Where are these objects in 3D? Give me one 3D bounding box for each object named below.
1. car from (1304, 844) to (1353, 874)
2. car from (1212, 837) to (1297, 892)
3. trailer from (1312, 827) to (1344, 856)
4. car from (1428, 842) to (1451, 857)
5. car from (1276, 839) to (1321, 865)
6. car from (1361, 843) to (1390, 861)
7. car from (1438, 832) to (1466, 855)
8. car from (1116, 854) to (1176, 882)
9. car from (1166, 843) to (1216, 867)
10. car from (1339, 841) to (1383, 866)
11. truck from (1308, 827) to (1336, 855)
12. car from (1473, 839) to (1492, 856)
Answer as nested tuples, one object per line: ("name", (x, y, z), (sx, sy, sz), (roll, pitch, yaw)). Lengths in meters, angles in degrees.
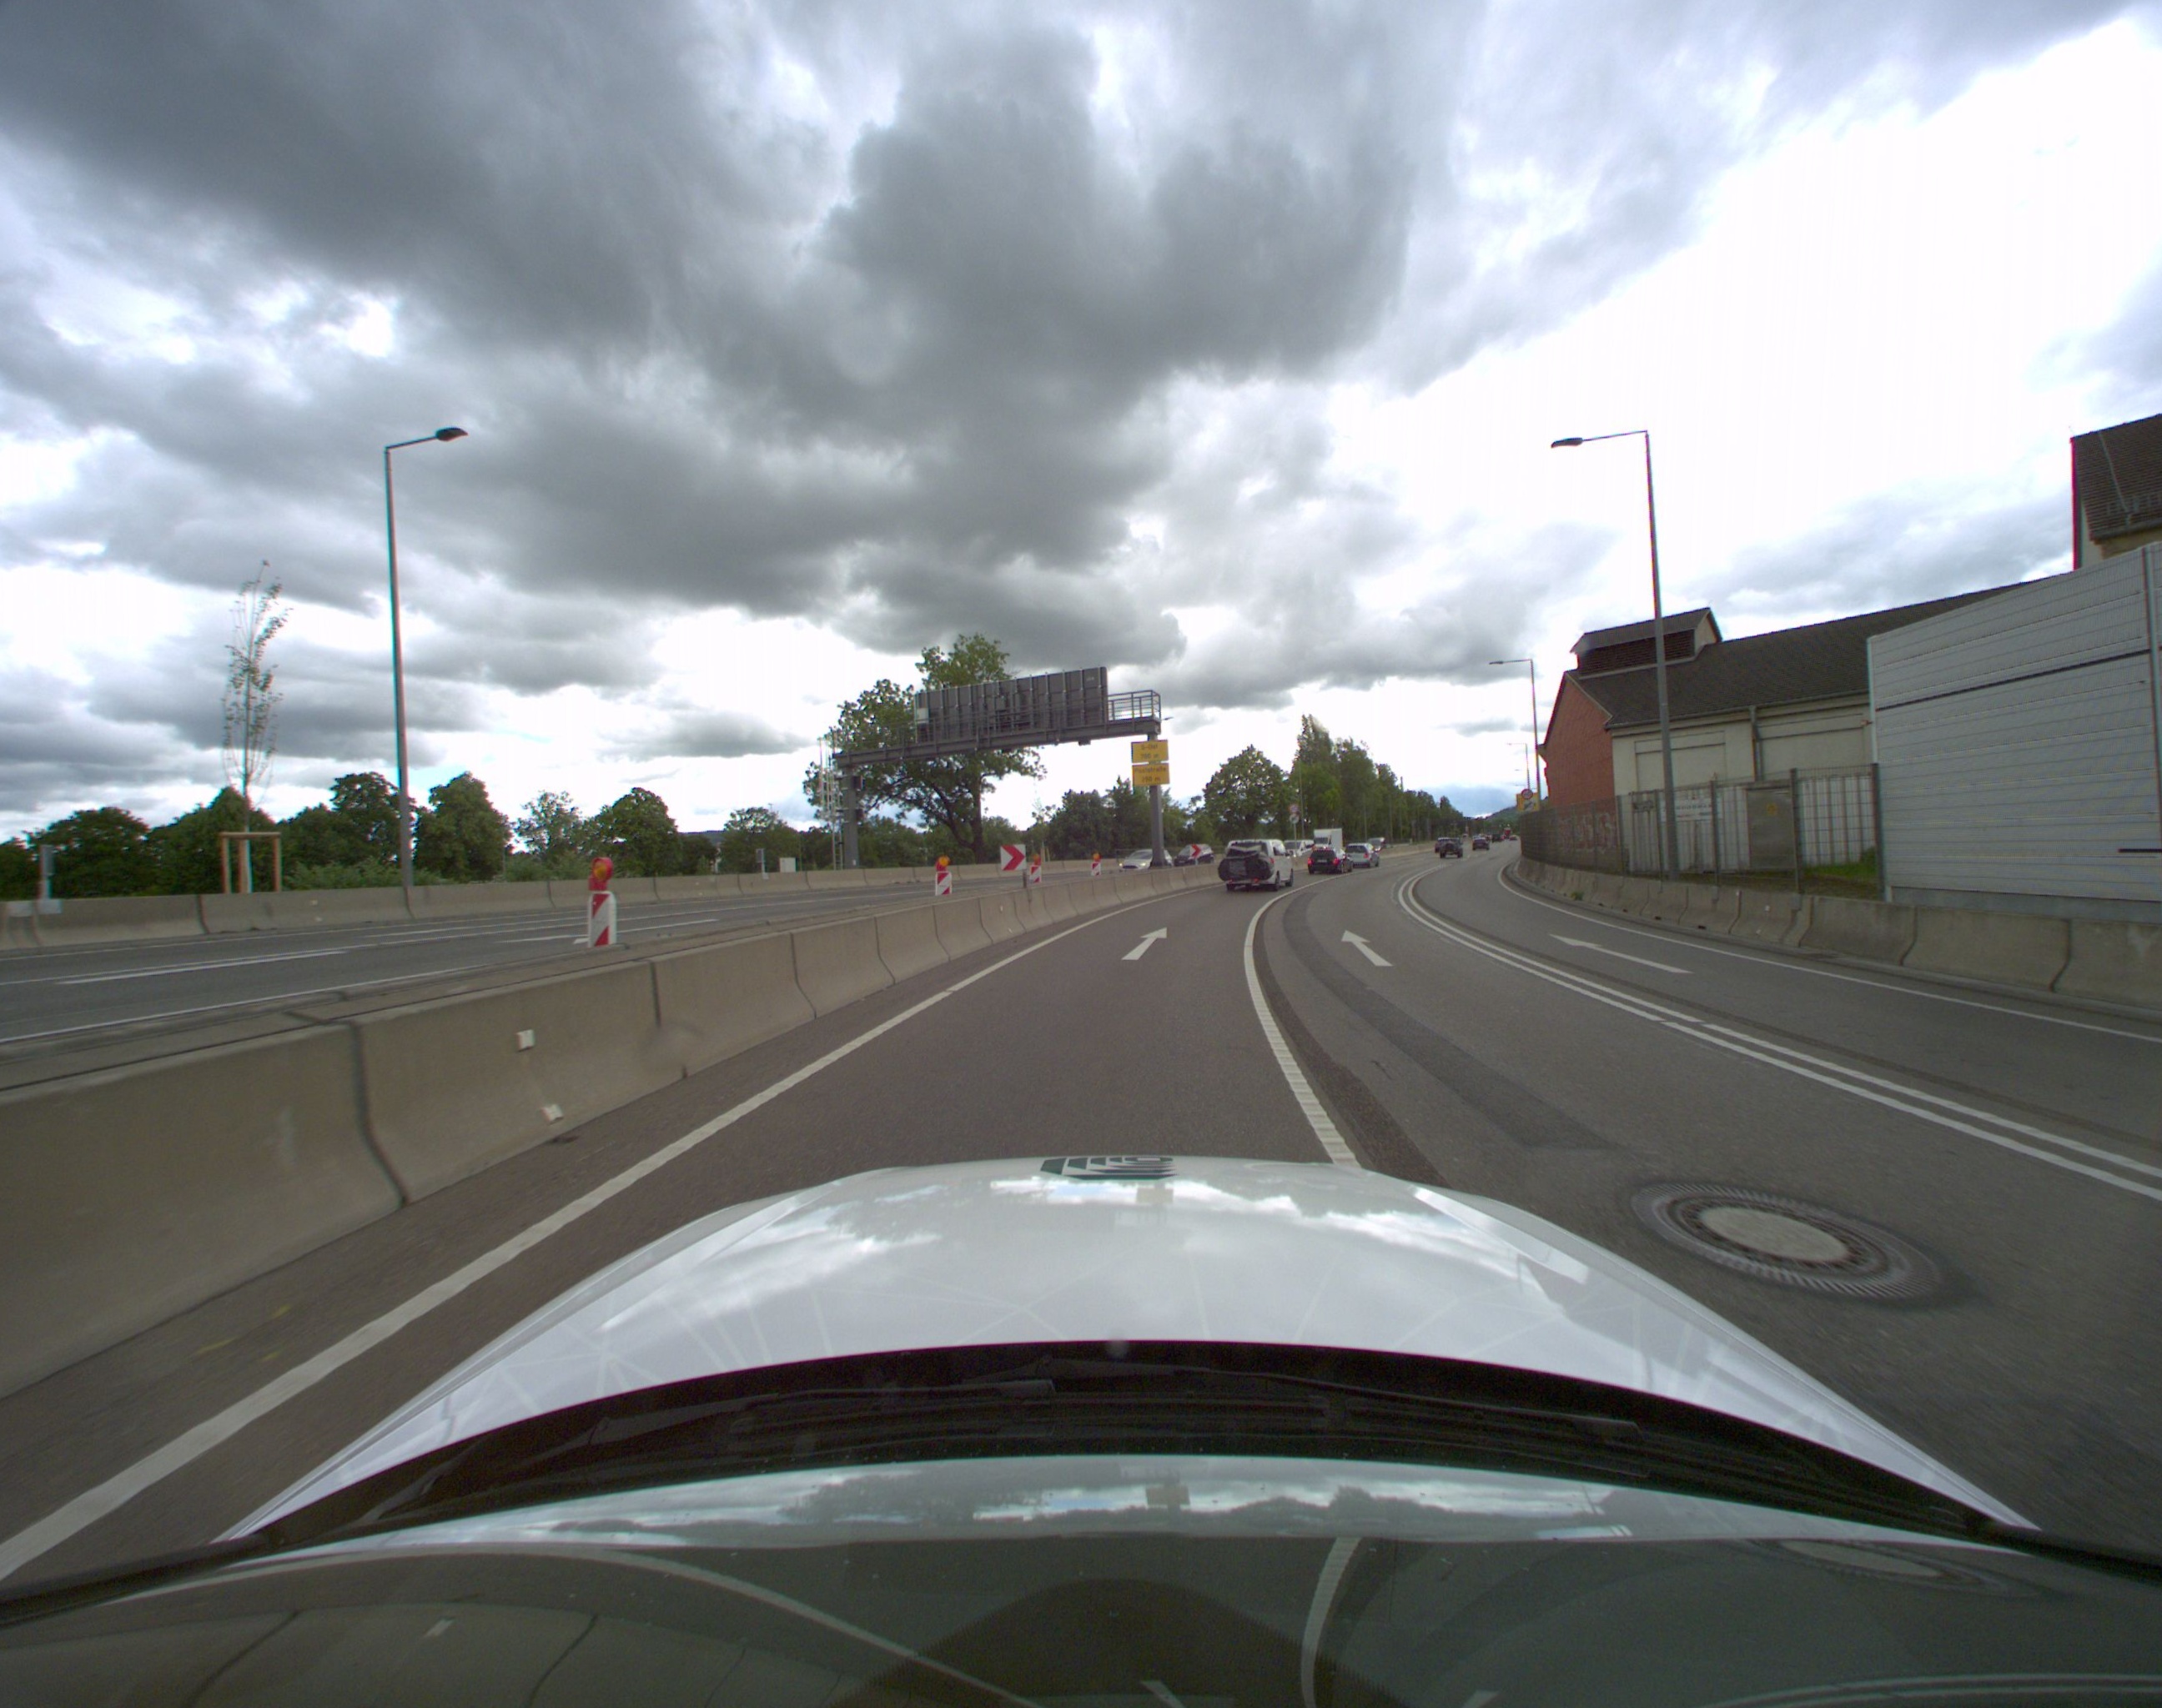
("car", (13.482, 0.225, 44.273), (1.798, 1.434, 4.090), (-3, 0, 27))
("car", (6.639, 0.315, 30.579), (1.975, 1.859, 5.673), (-1, 0, 24))
("trailer", (28.426, -1.425, 93.683), (2.250, 3.137, 5.747), (-1, 0, 30))
("car", (40.123, -0.499, 91.102), (1.975, 1.673, 4.025), (-1, 0, 29))
("car", (16.350, -0.168, 61.055), (1.933, 1.806, 5.828), (-1, 0, 29))
("car", (31.233, -0.214, 86.267), (1.883, 1.805, 4.986), (-1, 0, 32))
("car", (31.990, -0.903, 70.162), (1.975, 1.860, 4.023), (-3, -1, 26))
("car", (3.676, 0.745, 45.094), (1.778, 1.421, 4.676), (-1, 0, 25))
("car", (8.341, 0.056, 61.568), (1.974, 1.672, 4.758), (-1, 0, 32))
("car", (18.063, -0.045, 52.463), (1.902, 1.488, 4.091), (-2, 0, 30))
("truck", (27.061, -1.419, 91.368), (2.250, 3.114, 3.006), (-1, 0, 31))
("car", (48.009, -0.735, 97.355), (1.975, 1.904, 4.024), (-2, -1, 27))
